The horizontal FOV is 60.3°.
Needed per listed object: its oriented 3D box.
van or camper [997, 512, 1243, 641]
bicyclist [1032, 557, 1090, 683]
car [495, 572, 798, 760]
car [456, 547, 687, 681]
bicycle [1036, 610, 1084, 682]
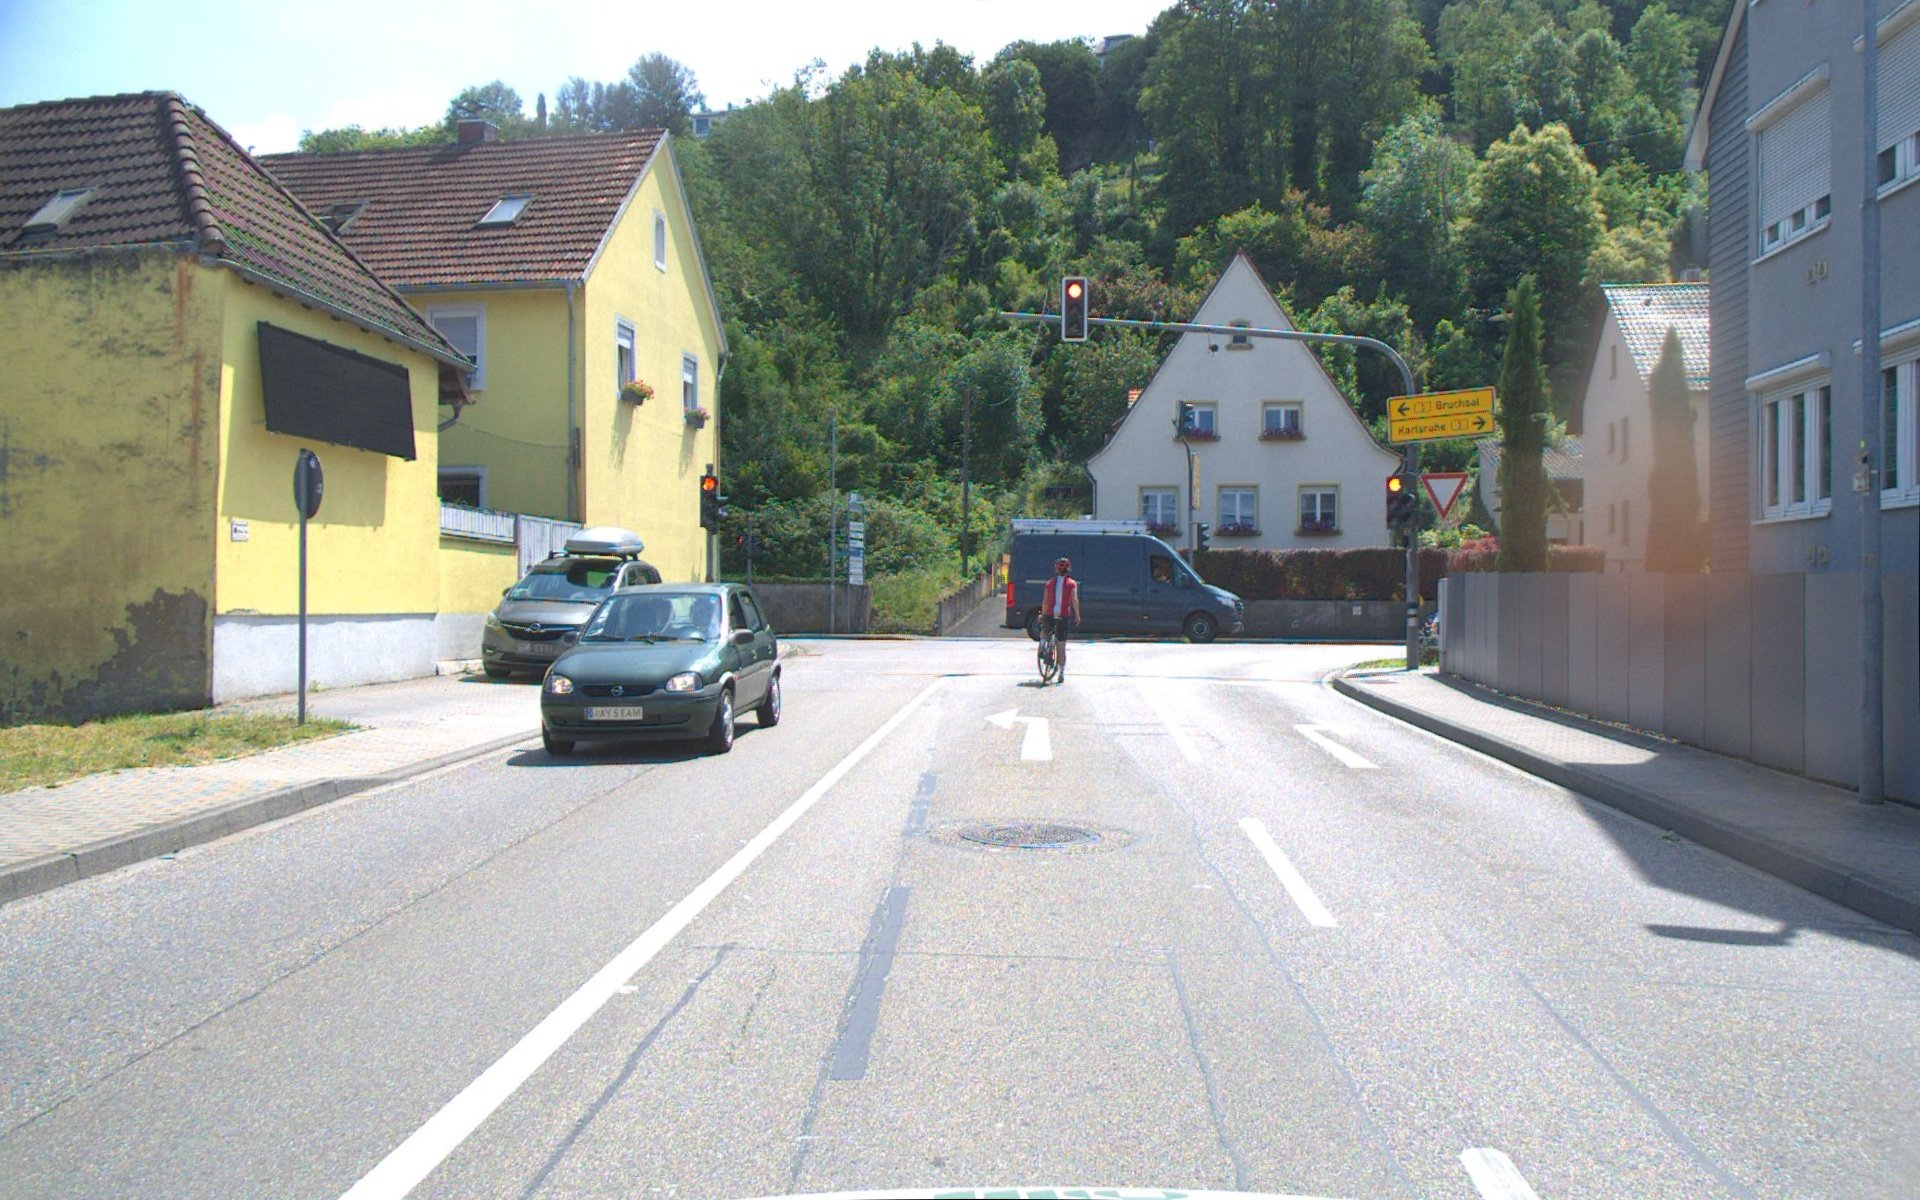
[{"bbox_3d":[4.006,-0.584,40.911,5.864,3.057,2.220,0,0,11],"label":"van or camper"},{"bbox_3d":[1.388,0.262,22.861,0.745,1.693,0.869,1,0,2],"label":"bicyclist"},{"bbox_3d":[-2.676,0.502,15.025,1.743,1.458,3.874,-1,1,4],"label":"car"},{"bbox_3d":[-5.408,0.151,23.682,1.952,1.664,4.632,2,1,3],"label":"car"},{"bbox_3d":[1.372,0.619,22.929,0.616,0.920,1.658,1,1,2],"label":"bicycle"}]
